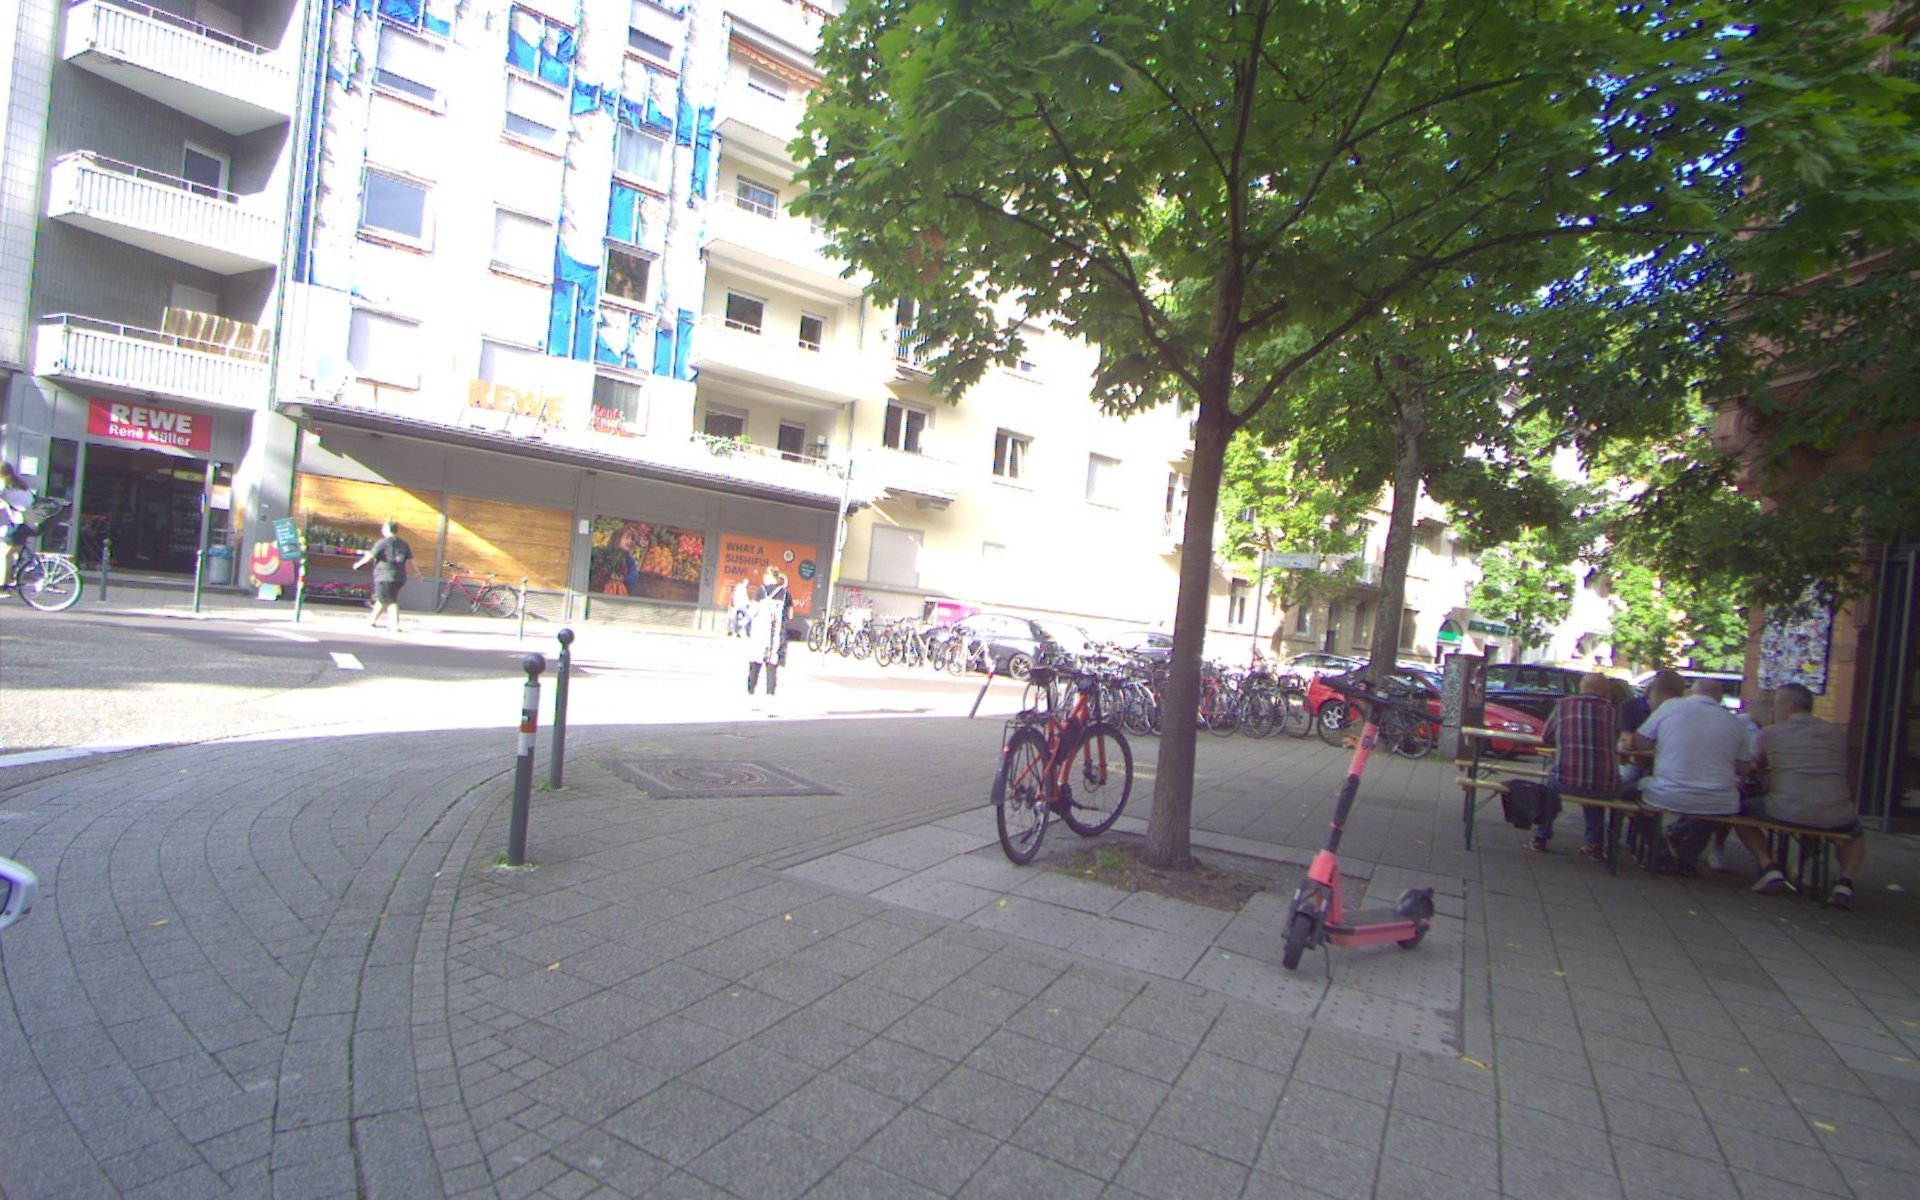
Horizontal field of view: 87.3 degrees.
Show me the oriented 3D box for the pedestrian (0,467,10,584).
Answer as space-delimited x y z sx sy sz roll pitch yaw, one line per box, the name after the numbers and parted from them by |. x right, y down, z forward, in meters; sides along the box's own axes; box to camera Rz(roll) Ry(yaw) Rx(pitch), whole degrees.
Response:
-15.694 -1.224 15.825 0.602 1.874 0.869 6 1 33 | pedestrian

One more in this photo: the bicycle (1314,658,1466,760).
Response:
5.814 1.453 13.717 0.562 1.145 1.836 5 -1 -32 | bicycle

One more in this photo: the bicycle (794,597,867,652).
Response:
-2.944 0.590 23.093 0.428 1.155 2.082 7 1 28 | bicycle

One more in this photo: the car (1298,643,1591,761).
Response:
8.125 1.679 17.181 1.982 1.404 3.961 6 0 -36 | car

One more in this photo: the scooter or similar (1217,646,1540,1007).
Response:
1.841 0.912 4.382 1.238 1.290 0.658 6 1 -38 | scooter or similar

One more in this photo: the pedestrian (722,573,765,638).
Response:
-5.294 0.133 24.621 0.746 1.498 0.581 5 1 -36 | pedestrian

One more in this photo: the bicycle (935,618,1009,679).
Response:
0.274 1.061 21.844 0.568 1.154 1.554 7 -2 44 | bicycle

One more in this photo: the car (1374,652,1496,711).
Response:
17.914 3.029 38.127 3.927 1.683 1.999 6 0 22 | car

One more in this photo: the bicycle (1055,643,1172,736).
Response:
2.043 1.183 13.707 0.337 1.066 2.027 5 -1 -28 | bicycle

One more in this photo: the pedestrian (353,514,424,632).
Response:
-9.046 -0.426 15.914 0.765 1.761 0.628 7 1 41 | pedestrian

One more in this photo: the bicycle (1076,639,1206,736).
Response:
2.441 1.164 13.854 0.475 1.103 2.071 5 -1 -28 | bicycle

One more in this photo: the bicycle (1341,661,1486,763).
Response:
6.246 1.515 13.966 0.422 1.149 1.835 4 1 -31 | bicycle

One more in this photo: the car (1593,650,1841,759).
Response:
18.426 2.496 24.675 1.983 1.973 4.380 6 0 -38 | car

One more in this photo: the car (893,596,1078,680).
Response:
0.636 0.900 24.325 3.926 1.529 1.999 6 0 21 | car

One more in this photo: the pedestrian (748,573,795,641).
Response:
-4.707 0.181 25.149 0.743 1.568 0.724 8 0 -35 | pedestrian

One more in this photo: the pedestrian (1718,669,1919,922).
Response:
5.522 1.204 6.510 0.690 1.424 0.799 6 1 24 | pedestrian

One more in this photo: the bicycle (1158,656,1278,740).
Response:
3.708 1.398 14.556 0.478 1.024 1.600 5 -1 -44 | bicycle

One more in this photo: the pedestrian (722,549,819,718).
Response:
-2.166 0.372 11.452 0.773 1.802 0.788 5 1 -23 | pedestrian

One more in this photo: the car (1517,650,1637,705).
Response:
27.147 3.411 44.428 4.042 1.857 2.002 6 -2 19 | car

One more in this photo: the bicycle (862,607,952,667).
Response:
-1.135 0.845 22.154 0.740 1.155 2.321 7 0 29 | bicycle

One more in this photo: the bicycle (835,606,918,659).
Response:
-1.851 0.755 22.648 0.740 1.045 2.059 7 0 29 | bicycle

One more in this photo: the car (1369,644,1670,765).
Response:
10.264 1.867 18.748 1.983 1.571 4.380 6 0 -38 | car

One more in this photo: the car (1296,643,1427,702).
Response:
13.780 2.458 34.646 3.927 1.460 1.999 6 0 22 | car

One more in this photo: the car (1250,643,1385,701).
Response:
11.672 2.312 32.916 3.926 1.349 1.999 6 0 21 | car

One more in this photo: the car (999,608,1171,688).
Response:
3.230 1.208 25.876 3.926 1.551 1.999 6 0 21 | car

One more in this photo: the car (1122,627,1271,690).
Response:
6.985 1.690 29.627 3.926 1.337 1.999 6 0 21 | car

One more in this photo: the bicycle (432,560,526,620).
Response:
-10.043 -0.209 21.054 1.661 1.063 0.455 6 1 -22 | bicycle

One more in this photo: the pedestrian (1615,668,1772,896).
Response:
4.908 1.174 6.783 0.586 1.359 0.758 6 1 24 | pedestrian

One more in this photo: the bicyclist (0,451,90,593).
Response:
-12.013 -0.999 12.875 1.003 1.689 0.938 6 1 -26 | bicyclist

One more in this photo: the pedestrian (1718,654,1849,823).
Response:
8.316 1.384 10.177 0.660 1.584 0.622 6 1 -15 | pedestrian

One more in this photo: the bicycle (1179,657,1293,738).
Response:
4.052 1.421 14.854 0.338 1.024 1.611 5 -1 -44 | bicycle

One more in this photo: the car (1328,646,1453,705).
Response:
15.494 2.684 36.371 3.927 1.605 1.999 6 0 22 | car

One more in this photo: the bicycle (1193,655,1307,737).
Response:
4.350 1.427 15.175 0.338 1.024 1.600 5 1 -44 | bicycle

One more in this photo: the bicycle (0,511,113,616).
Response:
-12.207 -0.517 12.825 1.950 1.214 0.708 6 0 -25 | bicycle

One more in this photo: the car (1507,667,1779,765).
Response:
14.540 2.433 21.645 1.983 1.388 4.380 6 0 -38 | car

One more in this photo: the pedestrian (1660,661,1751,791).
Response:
9.756 1.637 13.166 0.694 1.584 0.636 5 1 -35 | pedestrian

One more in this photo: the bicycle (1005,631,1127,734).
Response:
1.339 1.041 13.121 0.425 1.170 1.984 5 -2 -30 | bicycle

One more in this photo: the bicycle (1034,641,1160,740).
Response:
1.775 1.159 13.360 0.475 1.116 2.013 5 -2 -28 | bicycle

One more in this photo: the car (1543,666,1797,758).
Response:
16.416 2.556 23.465 1.983 1.433 4.380 6 0 -38 | car

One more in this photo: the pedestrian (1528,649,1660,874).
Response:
4.382 1.076 7.002 0.539 1.410 0.758 6 1 24 | pedestrian

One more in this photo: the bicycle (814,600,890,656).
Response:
-2.433 0.660 22.902 0.477 1.155 2.142 7 1 28 | bicycle

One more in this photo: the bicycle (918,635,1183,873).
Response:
0.615 0.829 5.934 0.642 1.108 1.926 6 0 33 | bicycle

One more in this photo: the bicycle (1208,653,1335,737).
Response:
4.772 1.445 15.531 0.424 1.094 1.829 5 -1 -43 | bicycle

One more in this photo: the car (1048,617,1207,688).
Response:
4.667 1.437 27.886 3.925 1.440 2.000 6 0 20 | car

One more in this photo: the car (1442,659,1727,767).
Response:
12.436 2.205 20.274 1.983 1.450 4.380 6 0 -38 | car

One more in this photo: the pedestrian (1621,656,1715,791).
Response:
8.929 1.549 12.695 0.694 1.584 0.630 5 1 -34 | pedestrian
